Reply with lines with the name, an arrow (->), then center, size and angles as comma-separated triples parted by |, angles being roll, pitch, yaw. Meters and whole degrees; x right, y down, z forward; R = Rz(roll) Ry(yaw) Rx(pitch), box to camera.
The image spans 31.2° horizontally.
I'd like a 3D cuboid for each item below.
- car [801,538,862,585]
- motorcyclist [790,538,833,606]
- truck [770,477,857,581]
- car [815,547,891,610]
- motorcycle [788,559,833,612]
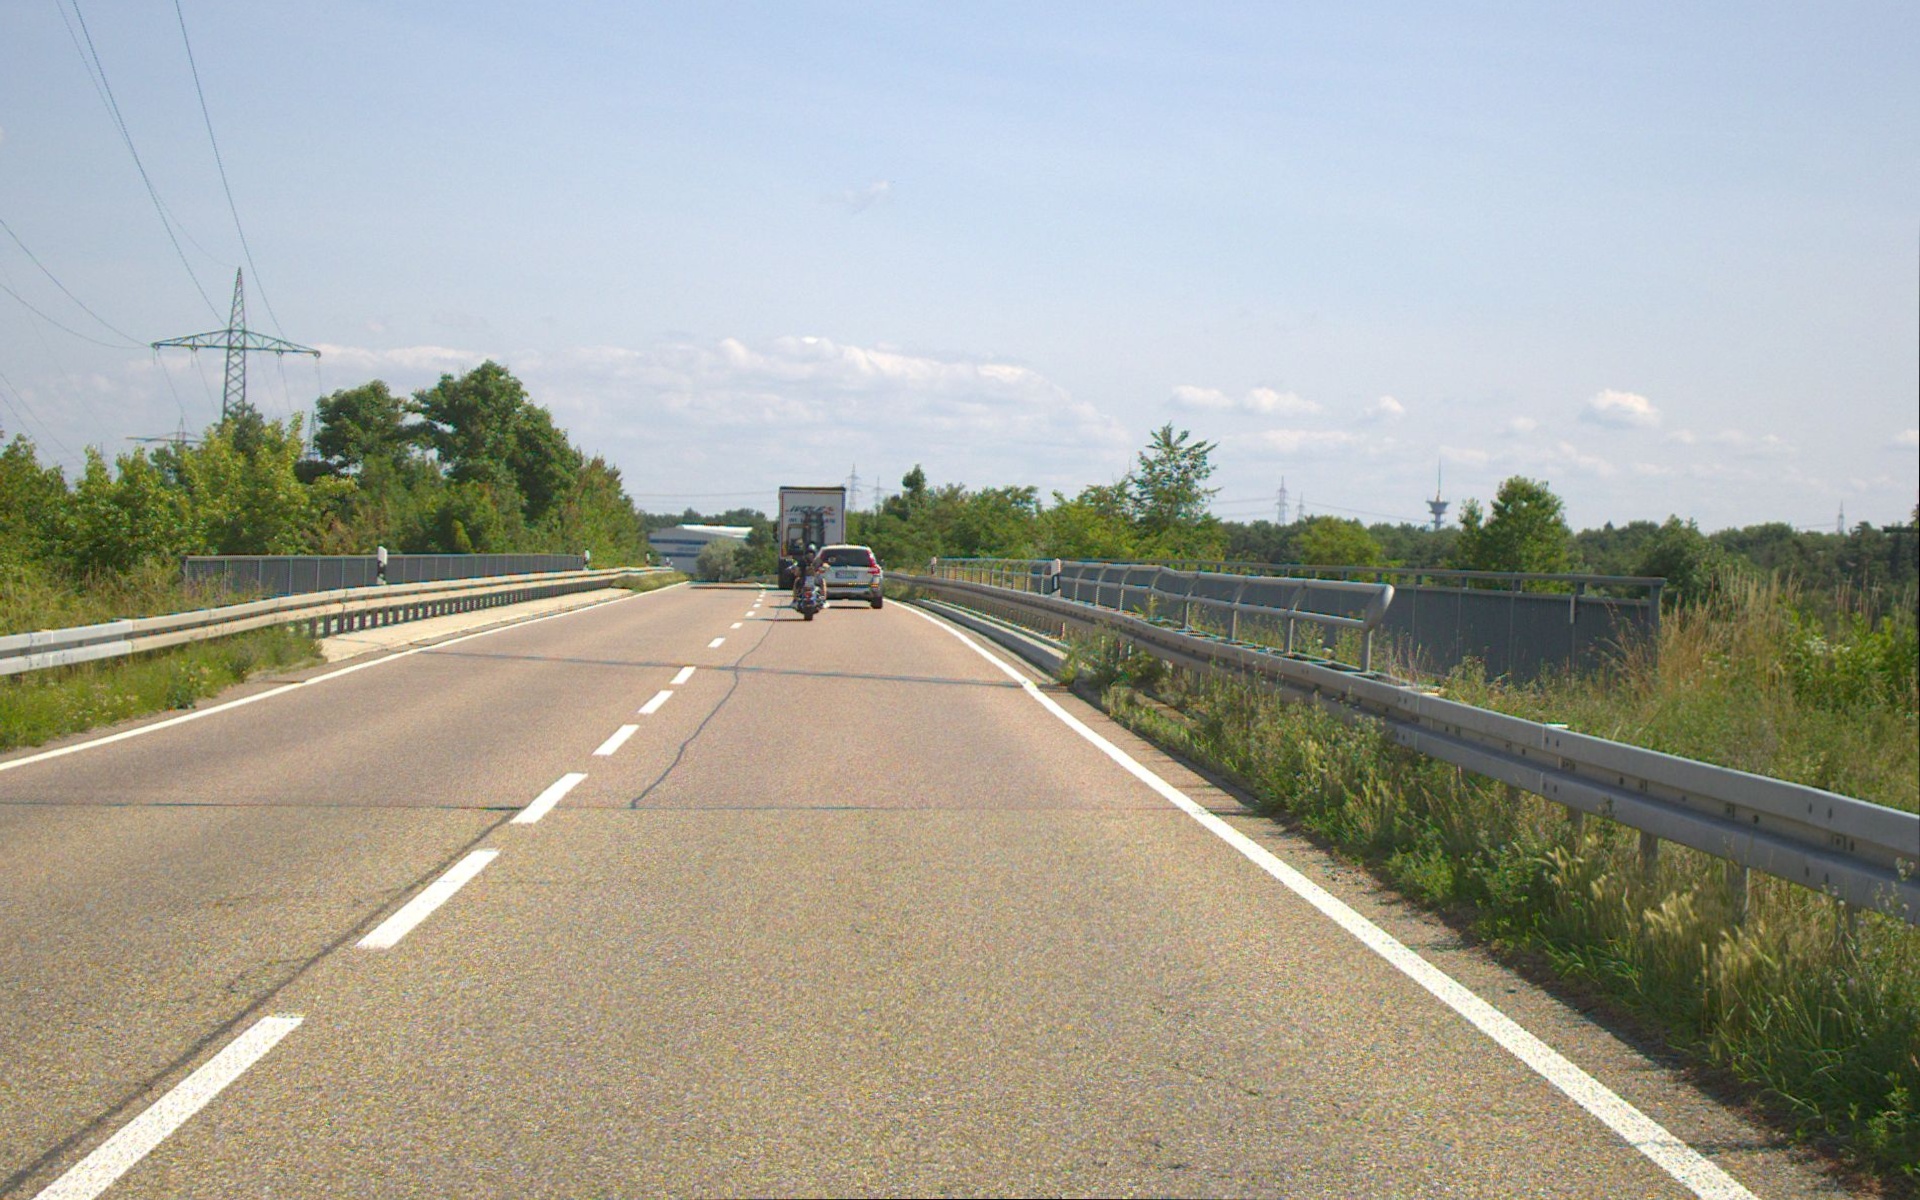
car -> -4.143, -1.252, 111.254 | 1.866, 1.415, 4.000 | 2, 1, -1
motorcyclist -> -2.943, -0.566, 68.206 | 0.780, 1.321, 0.813 | 1, 1, -1
truck -> -5.825, -2.839, 138.139 | 3.241, 3.965, 9.445 | 1, 1, -2
car -> -2.641, -0.544, 85.351 | 1.825, 1.446, 4.001 | 1, 1, -1
motorcycle -> -2.959, -0.295, 68.192 | 0.780, 0.972, 2.361 | 1, 1, -1
